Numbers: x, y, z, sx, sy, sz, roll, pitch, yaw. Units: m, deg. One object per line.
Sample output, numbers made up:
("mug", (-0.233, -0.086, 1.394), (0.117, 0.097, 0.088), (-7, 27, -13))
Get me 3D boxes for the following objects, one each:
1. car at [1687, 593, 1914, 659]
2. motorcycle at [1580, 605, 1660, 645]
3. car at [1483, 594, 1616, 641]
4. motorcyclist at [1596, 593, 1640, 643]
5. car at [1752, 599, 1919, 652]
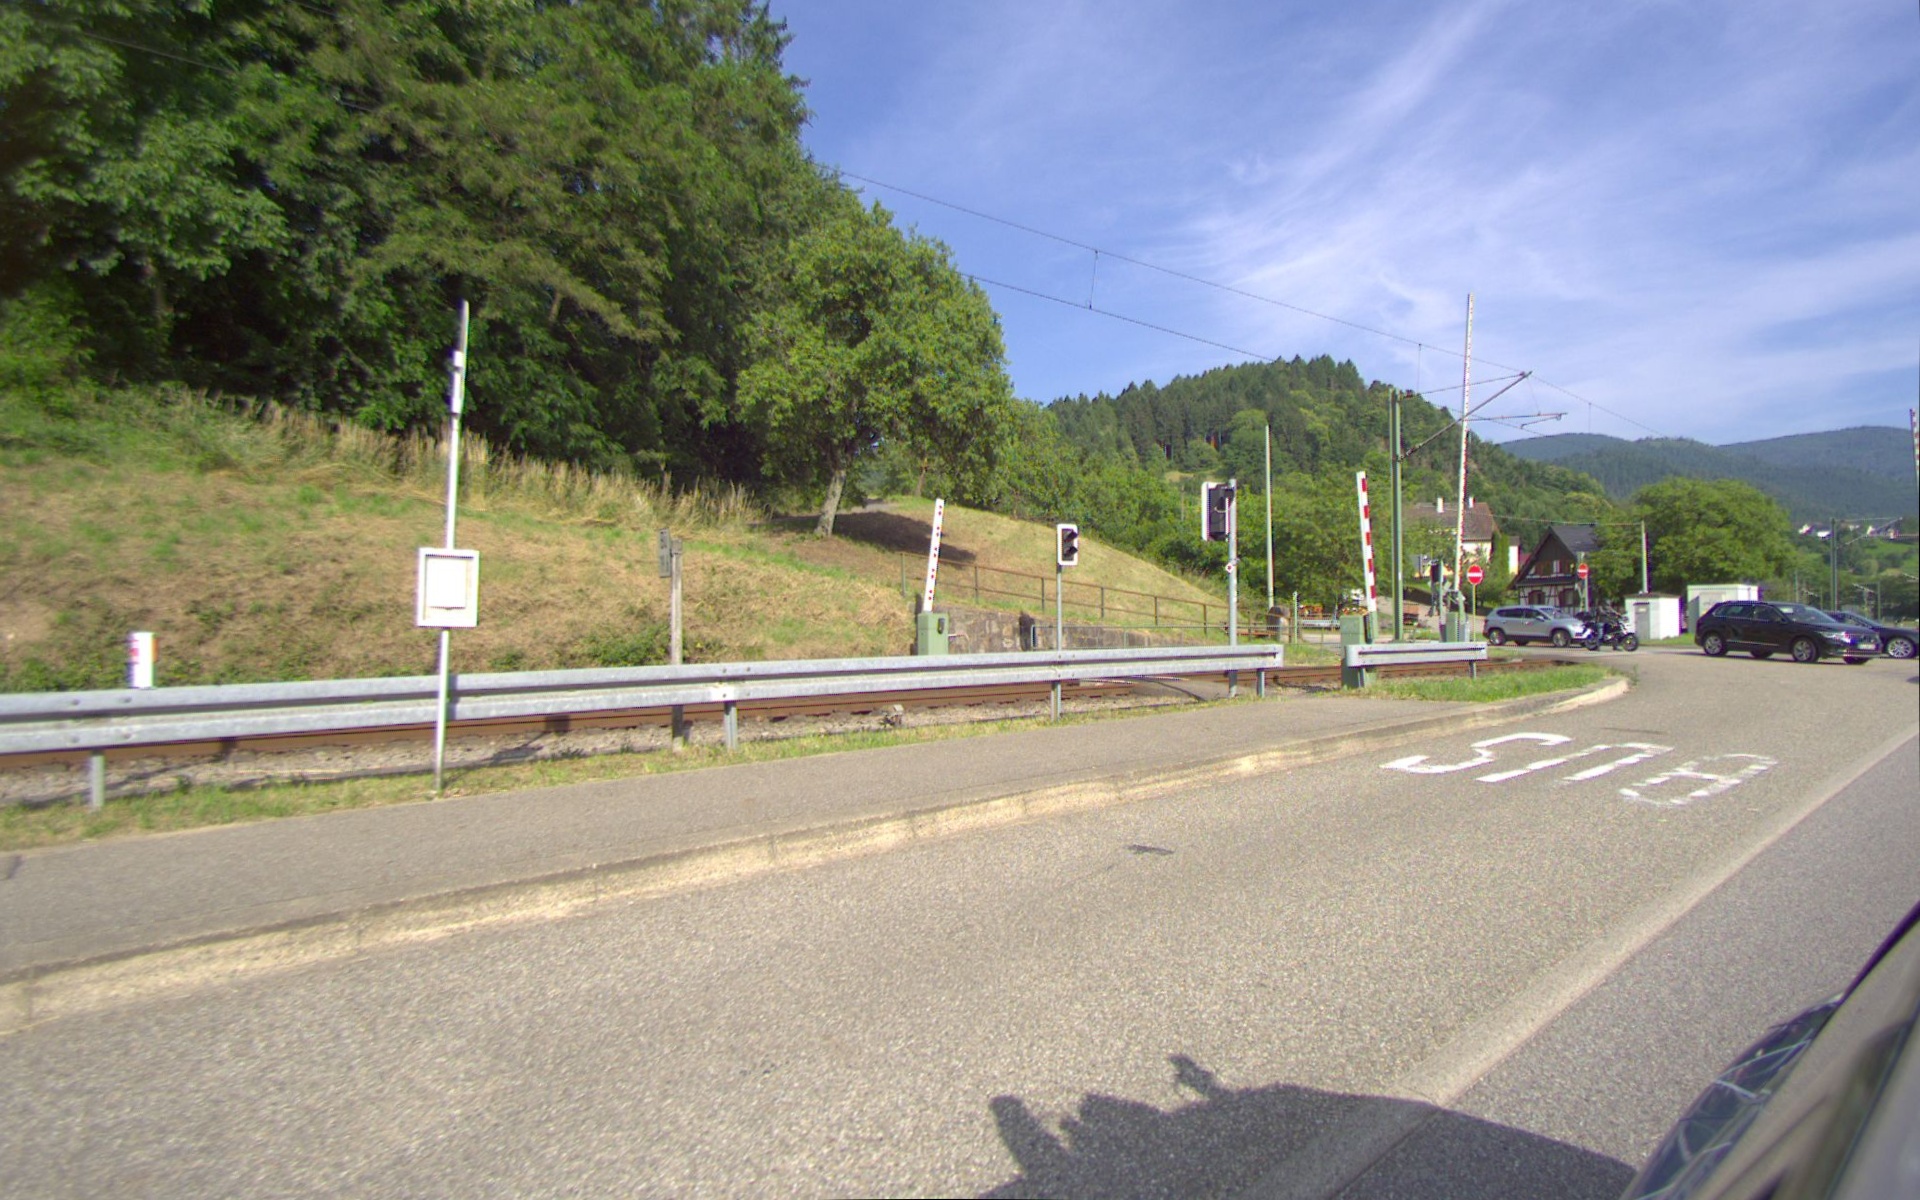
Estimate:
("car", (23.054, 0.662, 28.051), (1.891, 1.681, 4.749), (0, 0, -9))
("motorcycle", (21.629, 0.827, 33.216), (0.782, 1.270, 2.103), (0, -2, -22))
("car", (22.776, 0.712, 39.249), (1.797, 1.708, 4.131), (1, -2, -27))
("motorcyclist", (21.630, 0.592, 33.263), (0.749, 1.617, 0.911), (1, -2, -23))
("car", (27.978, 0.765, 31.656), (1.808, 1.488, 4.739), (1, 0, -37))
